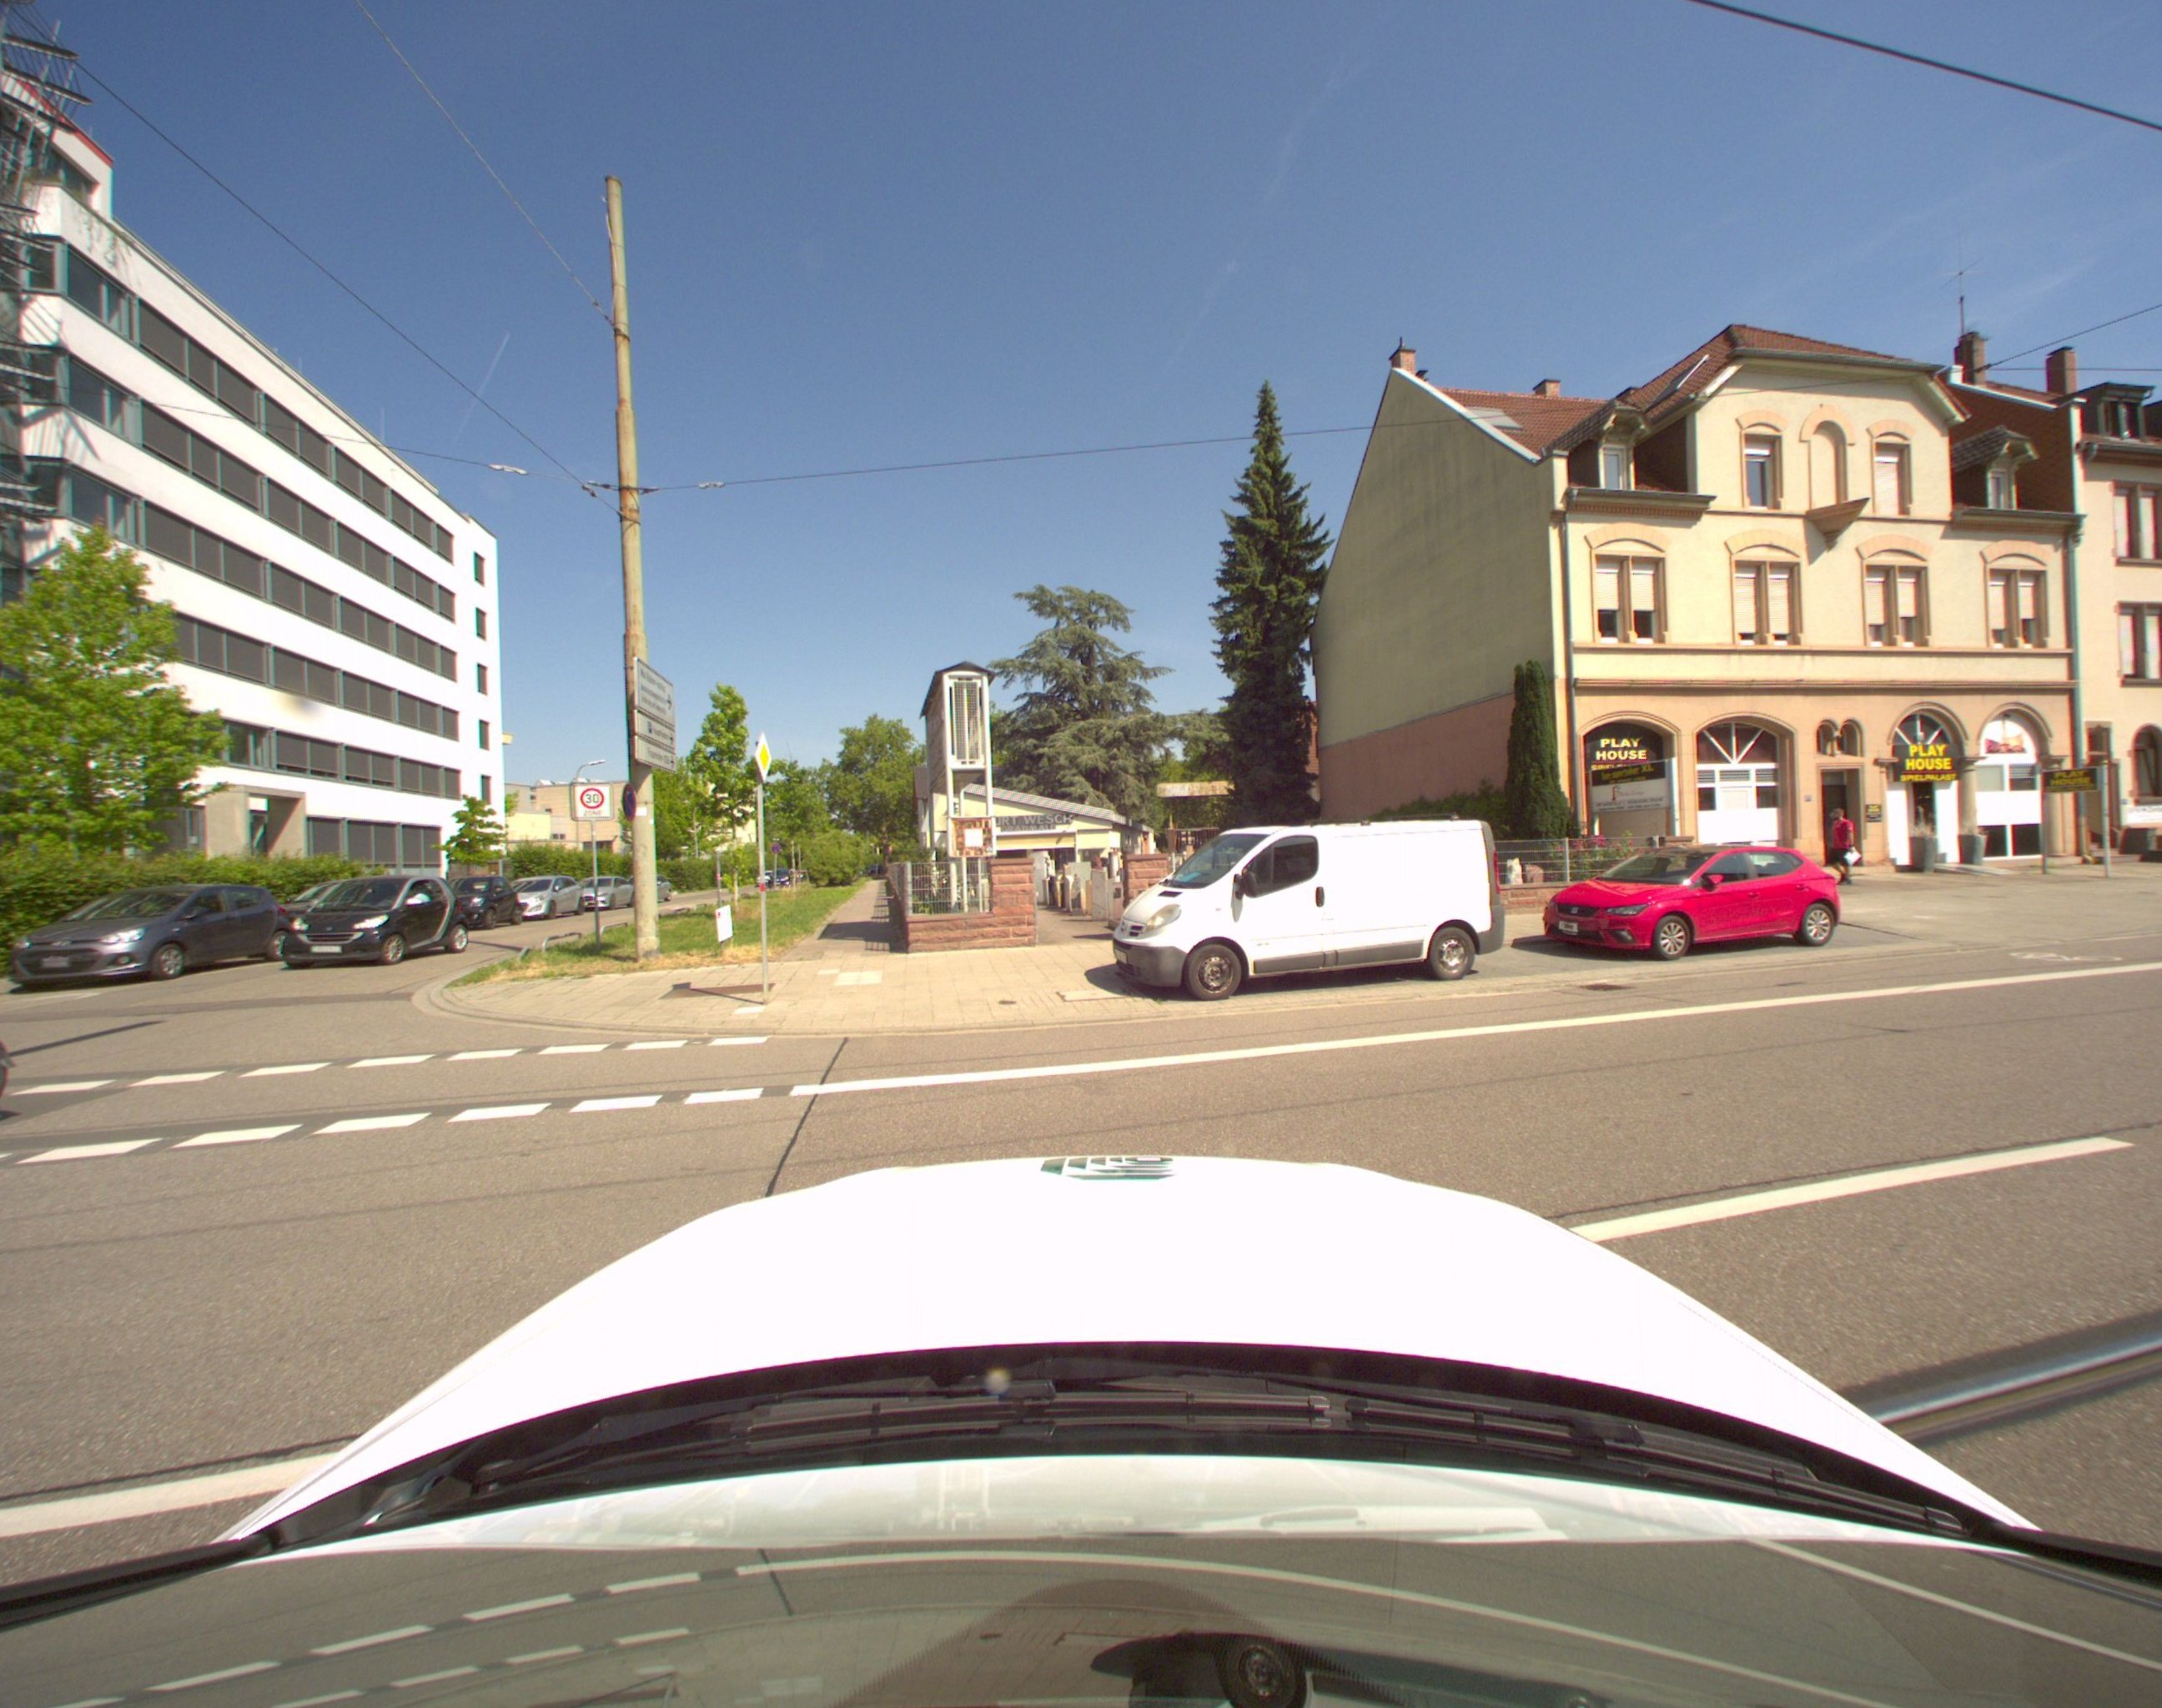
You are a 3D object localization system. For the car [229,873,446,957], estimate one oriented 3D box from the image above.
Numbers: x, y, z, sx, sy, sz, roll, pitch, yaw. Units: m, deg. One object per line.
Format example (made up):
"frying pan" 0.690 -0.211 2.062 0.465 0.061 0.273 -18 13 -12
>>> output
"car" -16.151 1.243 18.028 1.813 1.519 4.146 -2 0 -16

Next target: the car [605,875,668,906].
"car" -21.759 1.743 40.006 1.813 1.322 3.808 -2 0 -16

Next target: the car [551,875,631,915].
"car" -20.156 1.644 33.645 1.813 1.403 3.808 -2 -1 -16

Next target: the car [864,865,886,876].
"car" -29.165 2.294 115.179 1.922 1.449 3.830 -2 0 2

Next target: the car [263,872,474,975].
"car" -12.745 1.163 14.809 1.474 1.538 2.967 -2 0 -9

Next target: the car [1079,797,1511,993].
"car" 2.618 0.408 10.396 4.897 2.013 2.081 -2 0 -13

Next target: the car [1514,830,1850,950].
"car" 8.559 0.461 11.704 3.994 1.406 1.717 -2 0 -14

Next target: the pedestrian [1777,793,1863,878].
"pedestrian" 16.676 -0.407 18.405 1.116 1.815 0.950 -3 0 22

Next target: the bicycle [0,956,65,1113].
"bicycle" -8.176 1.250 5.255 2.156 0.984 0.609 -2 -1 -9

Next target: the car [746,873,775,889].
"car" -31.078 2.615 79.084 1.930 1.449 3.813 -2 -1 -12

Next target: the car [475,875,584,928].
"car" -18.662 1.545 27.768 1.813 1.505 4.023 -3 0 -15

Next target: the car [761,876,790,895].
"car" -25.731 2.636 68.661 1.933 1.449 3.808 -2 0 -16

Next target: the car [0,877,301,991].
"car" -15.303 1.201 13.595 1.703 1.527 3.676 -2 0 -16

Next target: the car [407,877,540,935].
"car" -17.518 1.442 23.702 1.781 1.444 3.830 -2 0 -16
